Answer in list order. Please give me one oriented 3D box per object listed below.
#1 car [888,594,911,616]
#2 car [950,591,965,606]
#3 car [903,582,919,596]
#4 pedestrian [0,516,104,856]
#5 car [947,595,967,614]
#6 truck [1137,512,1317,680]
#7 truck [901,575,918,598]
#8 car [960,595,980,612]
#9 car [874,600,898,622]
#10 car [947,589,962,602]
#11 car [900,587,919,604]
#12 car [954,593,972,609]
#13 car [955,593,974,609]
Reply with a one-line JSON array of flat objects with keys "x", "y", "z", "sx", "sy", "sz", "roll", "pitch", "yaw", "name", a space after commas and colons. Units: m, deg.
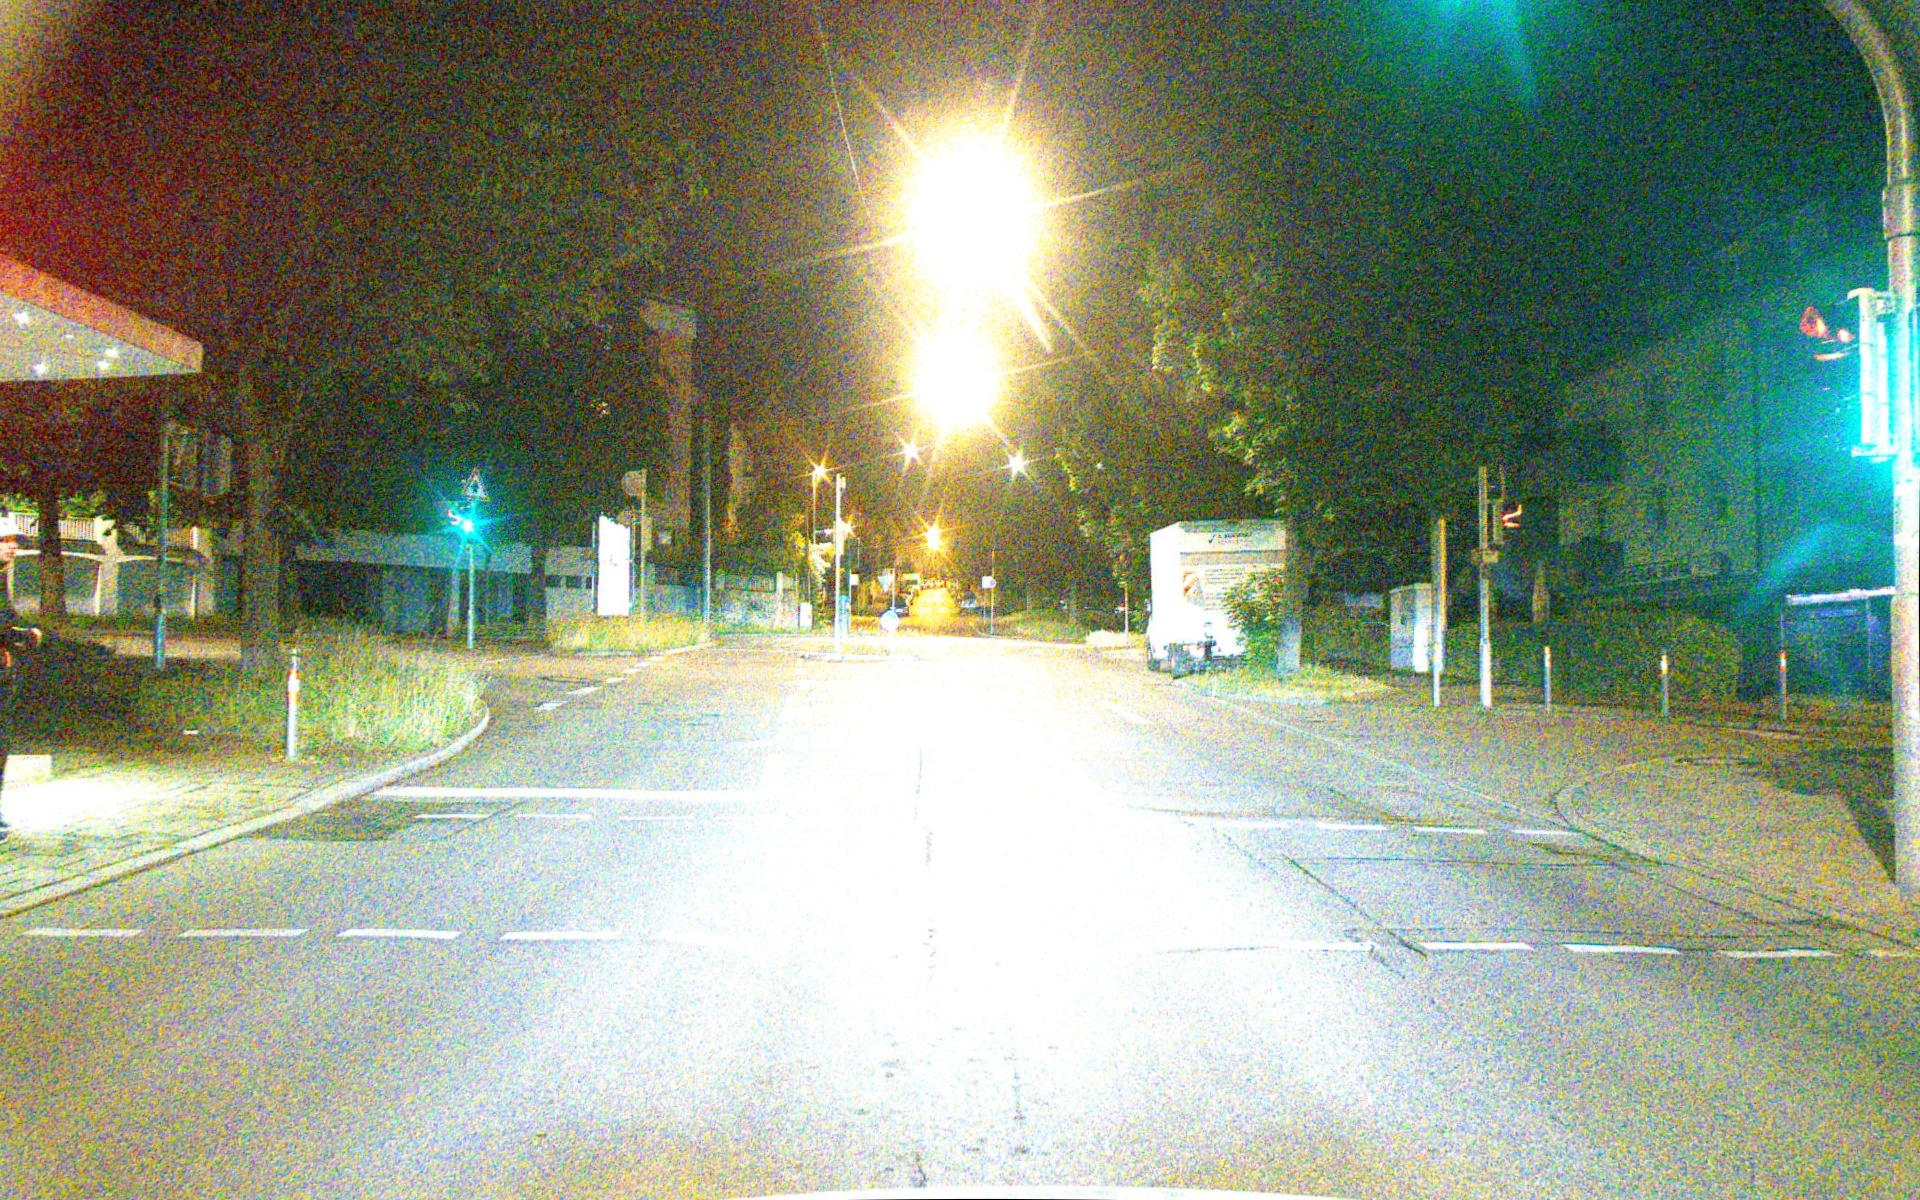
[{"x": -4.900, "y": 0.371, "z": 134.356, "sx": 1.778, "sy": 1.713, "sz": 3.999, "roll": 1, "pitch": 0, "yaw": -1, "name": "car"}, {"x": -0.267, "y": -0.167, "z": 178.504, "sx": 1.601, "sy": 1.477, "sz": 3.484, "roll": 1, "pitch": 0, "yaw": -1, "name": "car"}, {"x": -5.535, "y": -1.199, "z": 186.873, "sx": 1.779, "sy": 1.517, "sz": 3.998, "roll": 1, "pitch": 0, "yaw": -2, "name": "car"}, {"x": -5.329, "y": 0.447, "z": 9.135, "sx": 0.662, "sy": 1.776, "sz": 1.028, "roll": 1, "pitch": -1, "yaw": -2, "name": "pedestrian"}, {"x": -0.262, "y": 0.363, "z": 137.745, "sx": 1.561, "sy": 1.502, "sz": 3.653, "roll": 1, "pitch": 0, "yaw": -1, "name": "car"}, {"x": 5.427, "y": -0.081, "z": 34.674, "sx": 2.693, "sy": 3.165, "sz": 6.257, "roll": 1, "pitch": 0, "yaw": 0, "name": "truck"}, {"x": -6.437, "y": -1.699, "z": 209.498, "sx": 2.044, "sy": 2.897, "sz": 5.828, "roll": 1, "pitch": 0, "yaw": -2, "name": "truck"}, {"x": 0.874, "y": 0.295, "z": 143.359, "sx": 1.601, "sy": 1.477, "sz": 3.484, "roll": 1, "pitch": 0, "yaw": -1, "name": "car"}, {"x": -5.267, "y": 0.759, "z": 118.123, "sx": 1.601, "sy": 1.477, "sz": 3.484, "roll": 1, "pitch": 0, "yaw": -1, "name": "car"}, {"x": -0.659, "y": -0.481, "z": 191.471, "sx": 1.601, "sy": 1.477, "sz": 3.484, "roll": 1, "pitch": 0, "yaw": -1, "name": "car"}, {"x": -4.881, "y": -0.432, "z": 160.489, "sx": 1.779, "sy": 1.517, "sz": 3.998, "roll": 1, "pitch": 0, "yaw": -2, "name": "car"}, {"x": 0.258, "y": 0.104, "z": 159.270, "sx": 1.601, "sy": 1.477, "sz": 3.484, "roll": 1, "pitch": 0, "yaw": -1, "name": "car"}, {"x": 0.412, "y": 0.068, "z": 153.088, "sx": 1.601, "sy": 1.477, "sz": 3.484, "roll": 1, "pitch": 0, "yaw": -1, "name": "car"}]
